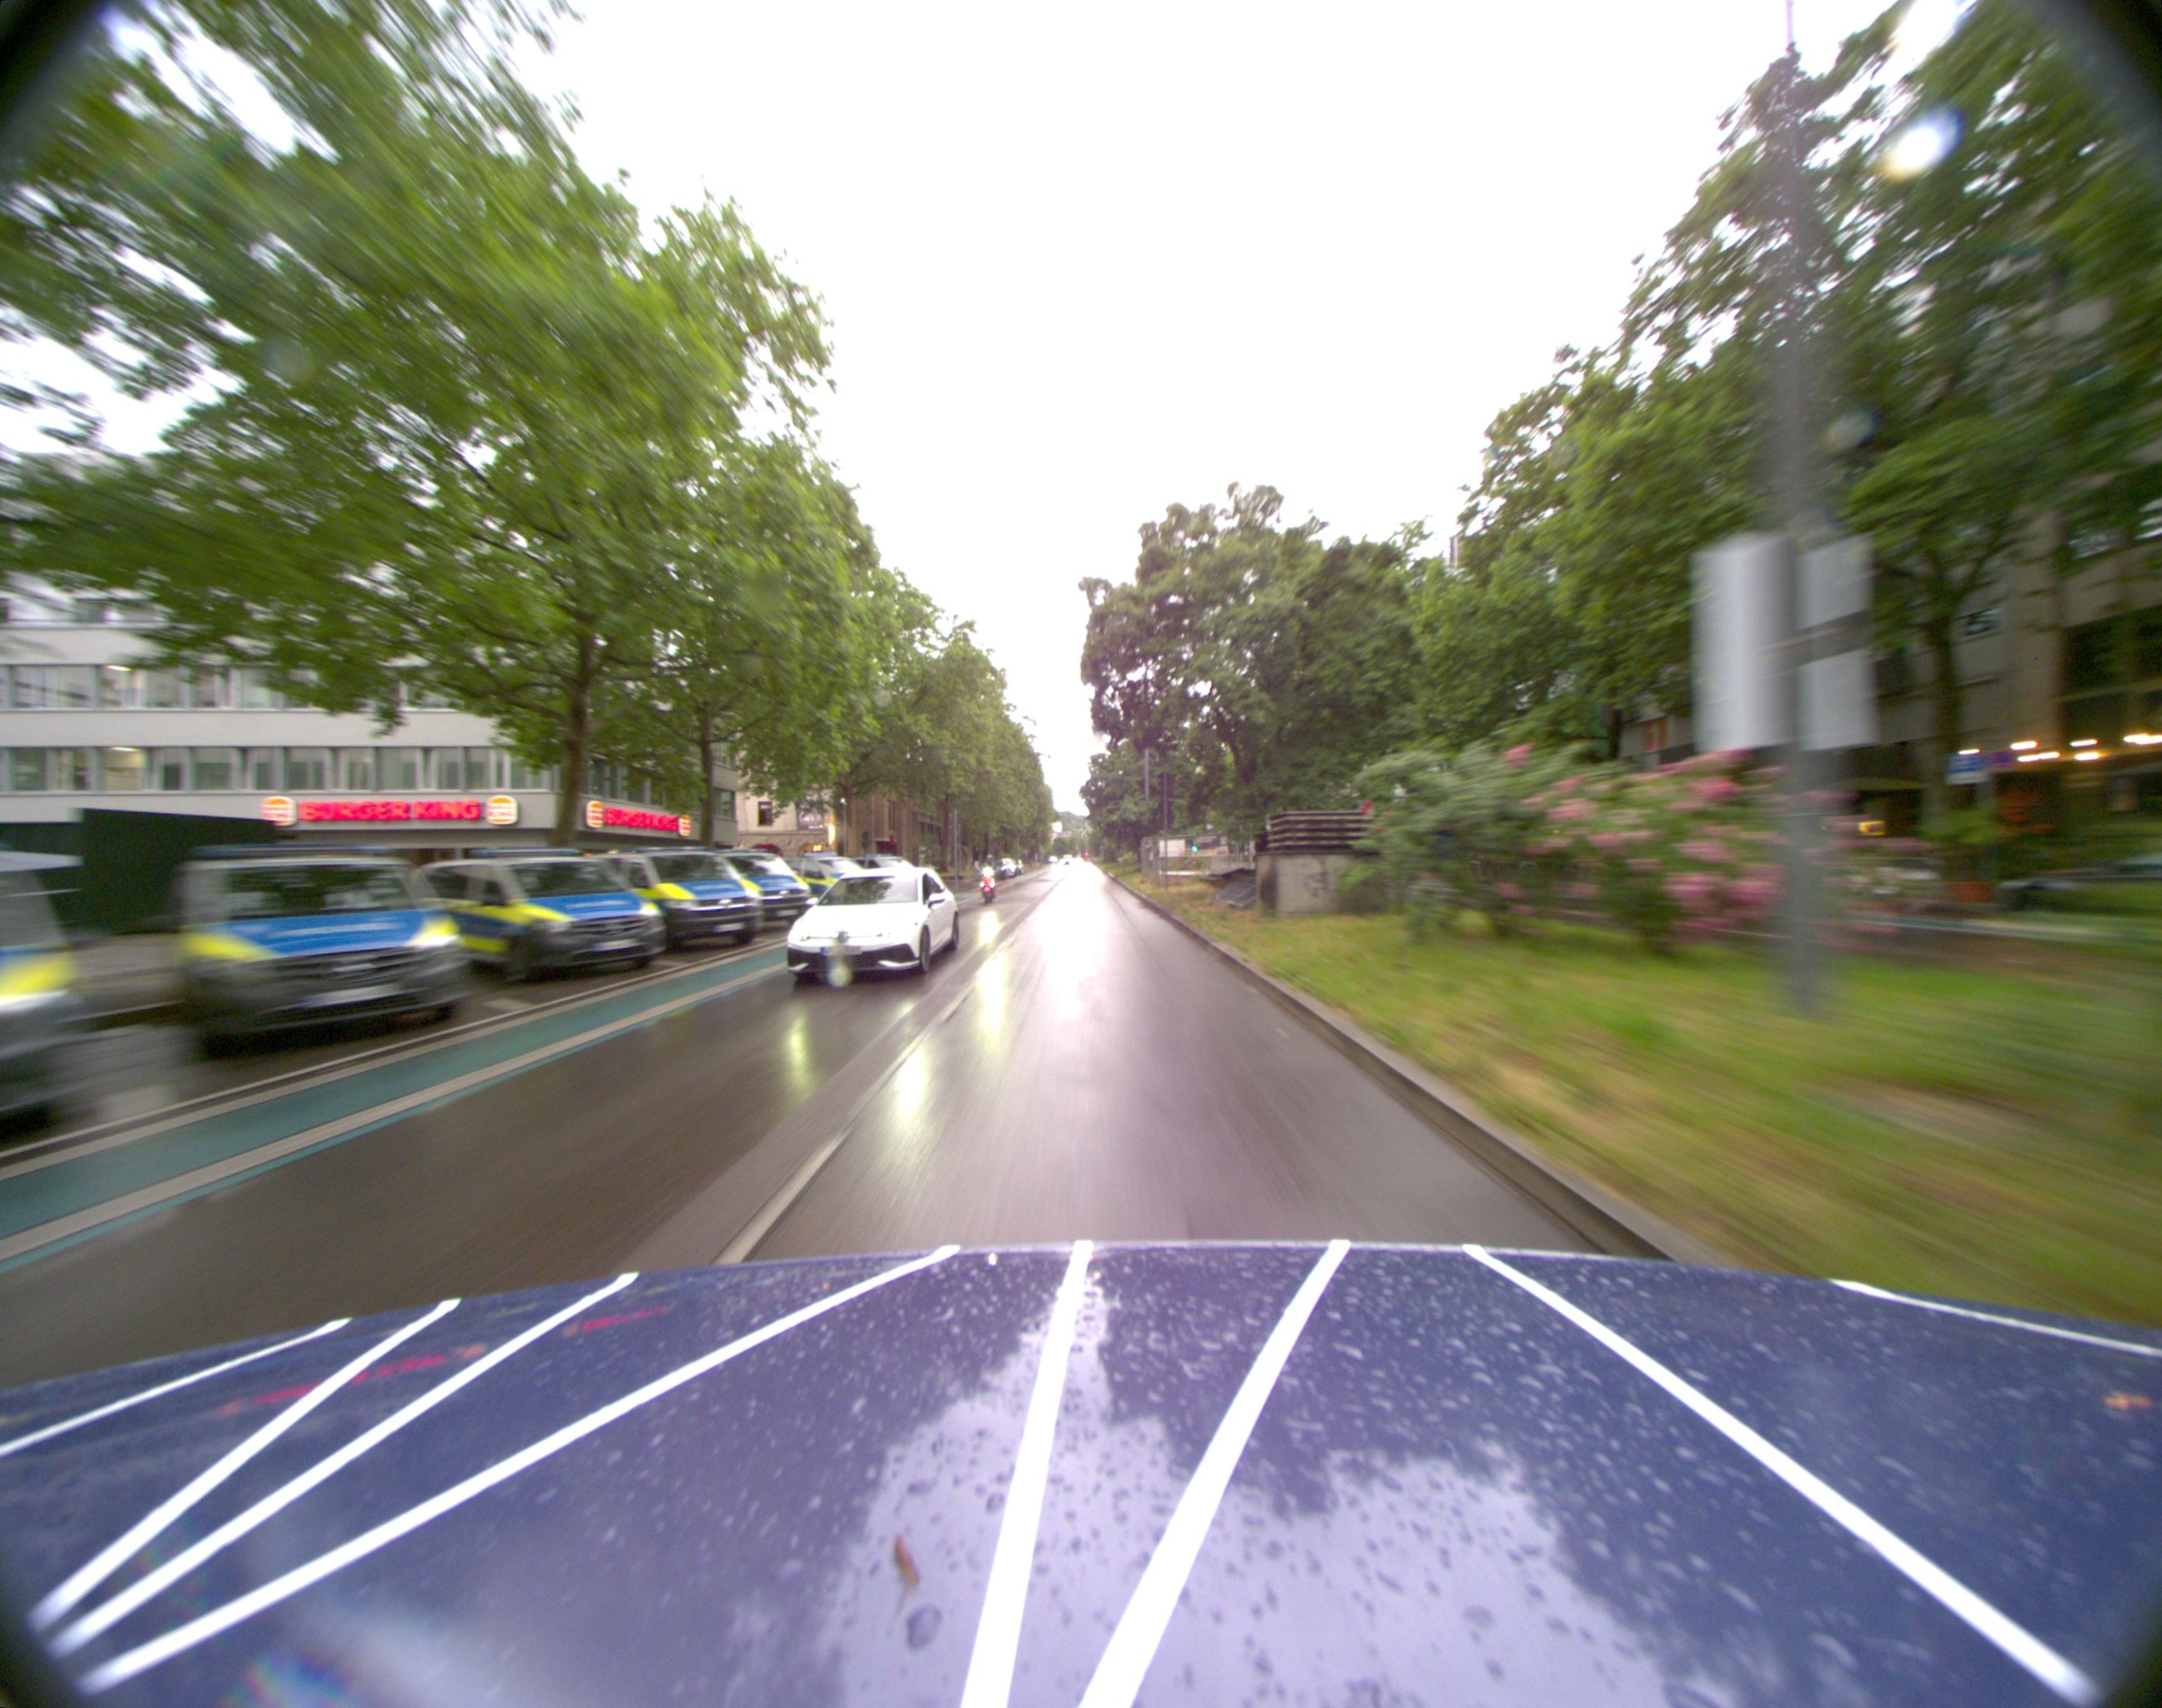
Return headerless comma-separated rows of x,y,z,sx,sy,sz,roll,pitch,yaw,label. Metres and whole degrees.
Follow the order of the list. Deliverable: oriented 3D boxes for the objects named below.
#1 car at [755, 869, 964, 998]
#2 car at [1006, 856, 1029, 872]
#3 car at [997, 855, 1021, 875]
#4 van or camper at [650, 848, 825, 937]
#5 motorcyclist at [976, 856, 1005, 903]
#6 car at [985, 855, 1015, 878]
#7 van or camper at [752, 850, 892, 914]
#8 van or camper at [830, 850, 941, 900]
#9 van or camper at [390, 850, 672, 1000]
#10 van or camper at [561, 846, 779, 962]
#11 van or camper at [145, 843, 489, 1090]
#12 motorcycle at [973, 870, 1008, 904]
-3.035,1.010,11.485,1.866,1.436,4.508,-1,0,-1,car
-6.186,0.957,74.051,1.747,1.424,4.585,-2,0,1,car
-5.989,0.891,63.435,1.756,1.576,4.408,-2,0,-4,car
-8.792,0.912,19.267,4.841,1.986,1.871,-1,1,37,van or camper
-3.266,0.904,27.380,0.850,1.635,0.870,-2,1,-18,motorcyclist
-6.147,0.943,58.284,1.797,1.593,4.423,-2,0,-1,car
-9.028,0.969,26.328,5.074,2.007,2.001,-2,0,37,van or camper
-8.525,0.907,32.965,4.933,1.980,2.006,-2,1,38,van or camper
-9.047,0.984,12.369,5.010,1.984,2.004,-1,1,33,van or camper
-8.448,0.908,15.453,4.781,1.999,2.004,-1,1,37,van or camper
-8.815,0.953,8.599,5.093,2.013,2.110,-1,0,38,van or camper
-3.270,1.162,27.390,0.869,1.136,2.019,-2,0,-17,motorcycle
